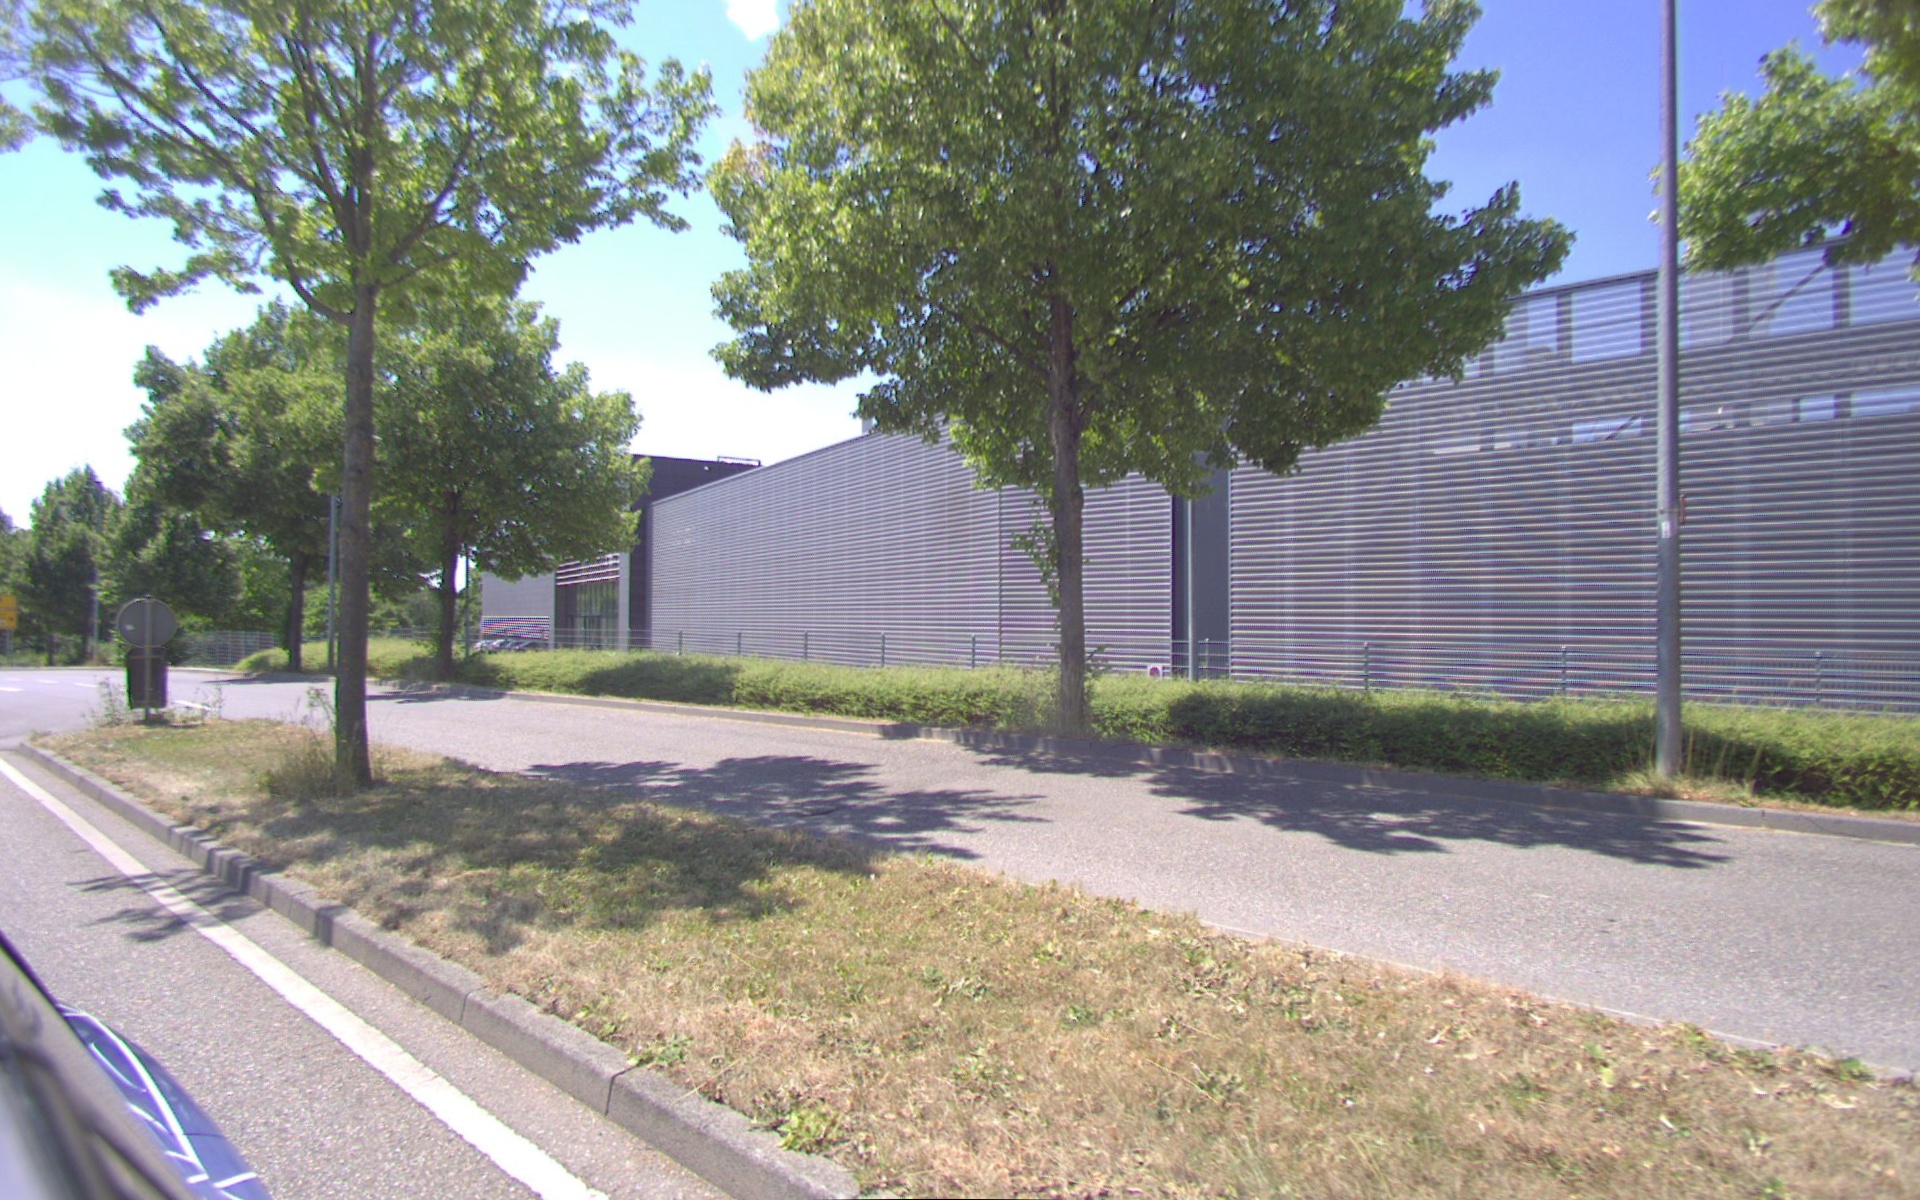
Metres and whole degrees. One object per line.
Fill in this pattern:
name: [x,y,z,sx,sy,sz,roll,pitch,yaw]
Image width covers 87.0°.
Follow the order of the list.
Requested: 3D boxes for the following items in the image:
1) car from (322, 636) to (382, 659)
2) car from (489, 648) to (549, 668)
car: [-48.812,3.820,81.235,3.935,1.719,2.004,2,-6,-37]
car: [-34.317,4.499,78.785,3.935,1.497,2.004,2,-6,-37]
